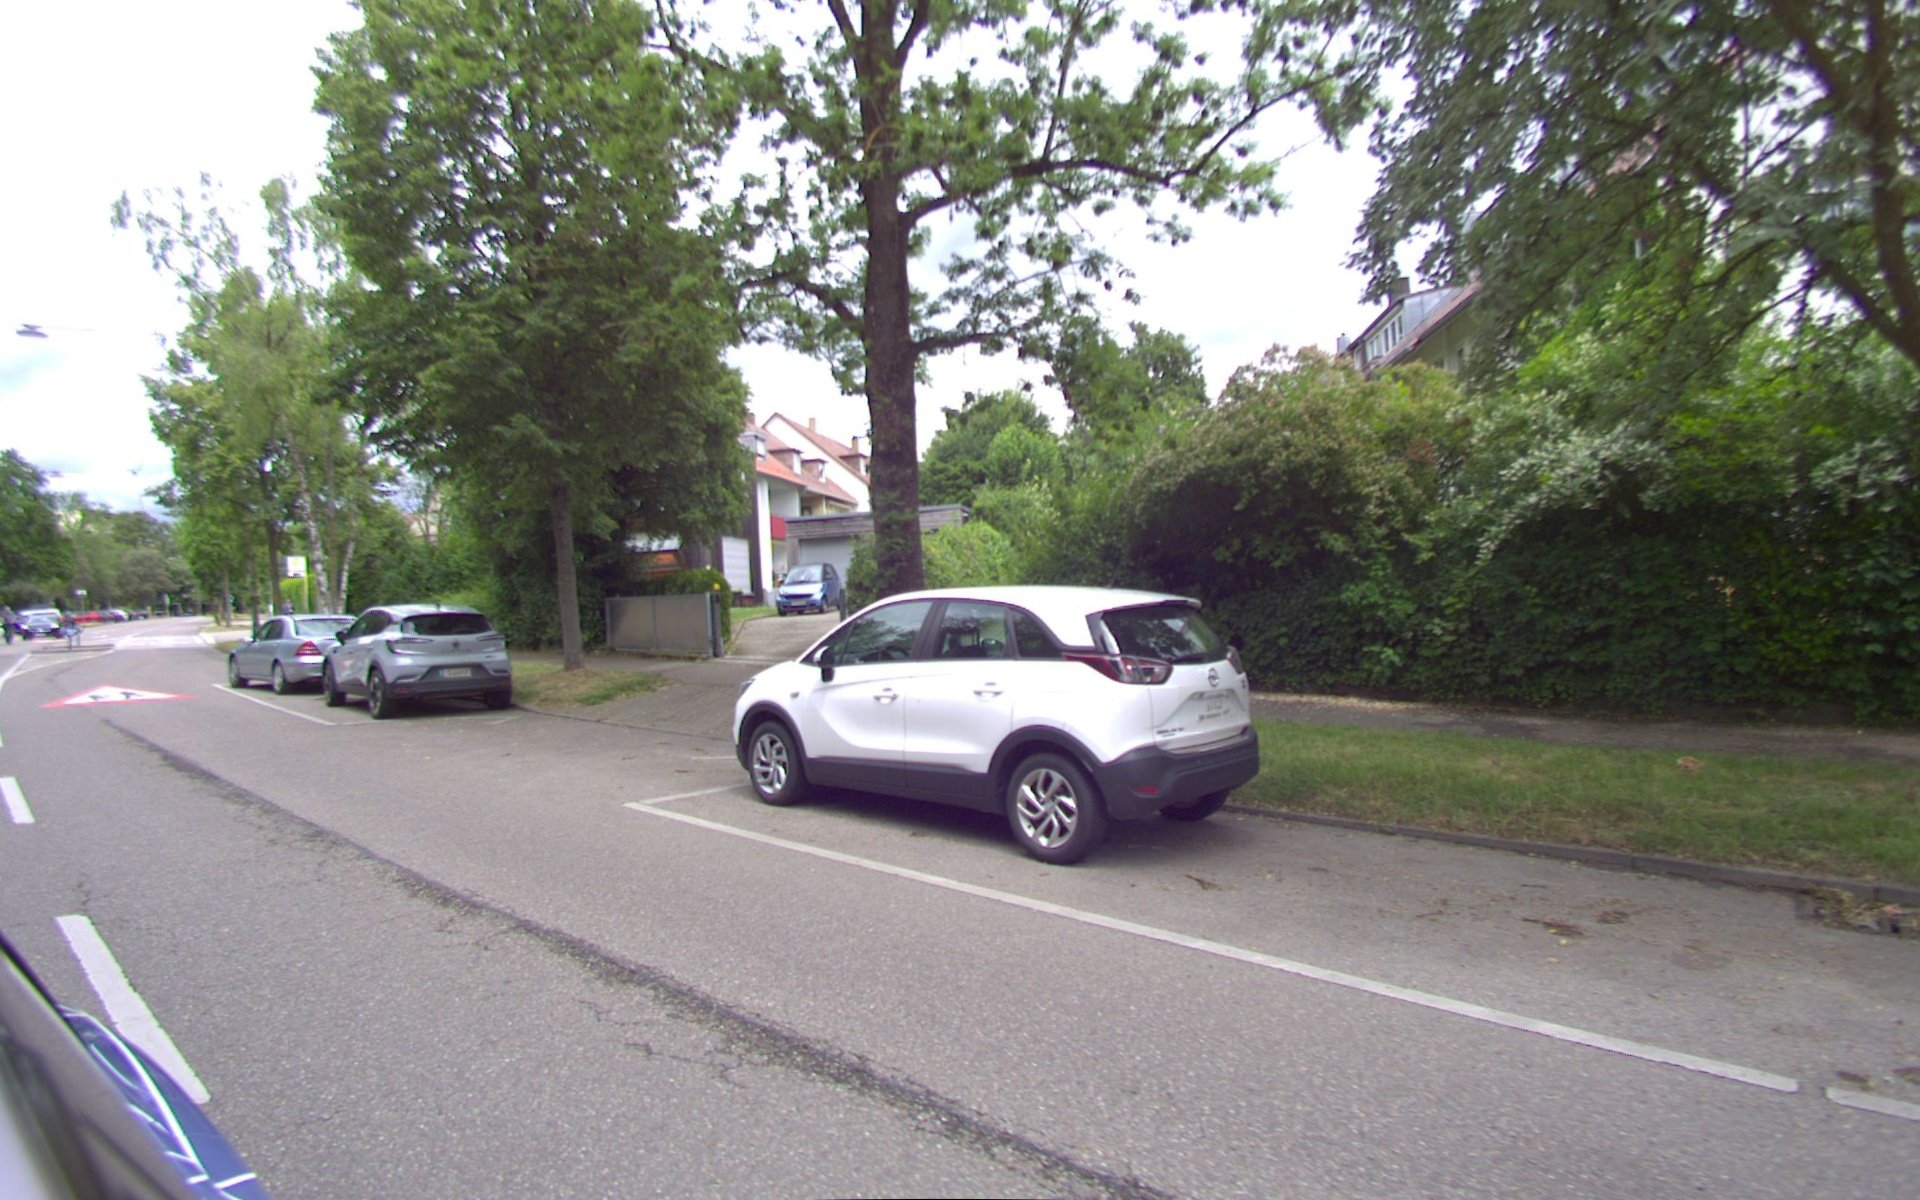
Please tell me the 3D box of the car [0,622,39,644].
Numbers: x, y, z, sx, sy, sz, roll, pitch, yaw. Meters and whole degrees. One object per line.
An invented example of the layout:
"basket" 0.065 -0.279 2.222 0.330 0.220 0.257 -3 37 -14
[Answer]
"car" -69.840 2.429 73.672 1.709 1.444 3.817 -1 2 30

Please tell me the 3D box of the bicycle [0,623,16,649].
"bicycle" -47.905 1.780 50.825 1.878 1.246 0.639 -1 1 45

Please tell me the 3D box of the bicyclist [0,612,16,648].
"bicyclist" -47.928 1.508 50.862 0.628 1.792 0.638 -1 1 44

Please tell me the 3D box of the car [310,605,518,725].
"car" -8.347 0.882 15.296 1.715 1.549 4.192 0 -1 -44

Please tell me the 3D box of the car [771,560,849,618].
"car" -4.574 -0.384 31.310 1.405 1.616 3.366 -1 3 9

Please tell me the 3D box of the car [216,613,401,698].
"car" -12.456 0.990 19.233 4.468 1.427 1.718 -1 -1 40

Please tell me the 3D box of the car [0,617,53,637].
"car" -76.197 2.207 82.023 1.715 1.449 3.806 -1 2 41

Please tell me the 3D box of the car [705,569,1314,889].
"car" 0.106 0.677 7.098 4.141 1.590 1.716 -1 -1 43

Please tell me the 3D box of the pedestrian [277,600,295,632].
"pedestrian" -37.628 0.902 56.510 0.683 1.723 0.779 -2 1 -44

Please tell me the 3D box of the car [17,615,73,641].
"car" -53.456 1.604 59.208 1.831 1.384 4.087 -2 1 -34

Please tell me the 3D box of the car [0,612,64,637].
"car" -78.061 2.049 84.727 1.852 1.771 4.179 -2 2 31

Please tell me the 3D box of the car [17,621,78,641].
"car" -80.784 2.726 89.642 1.654 1.445 3.806 -2 1 41
